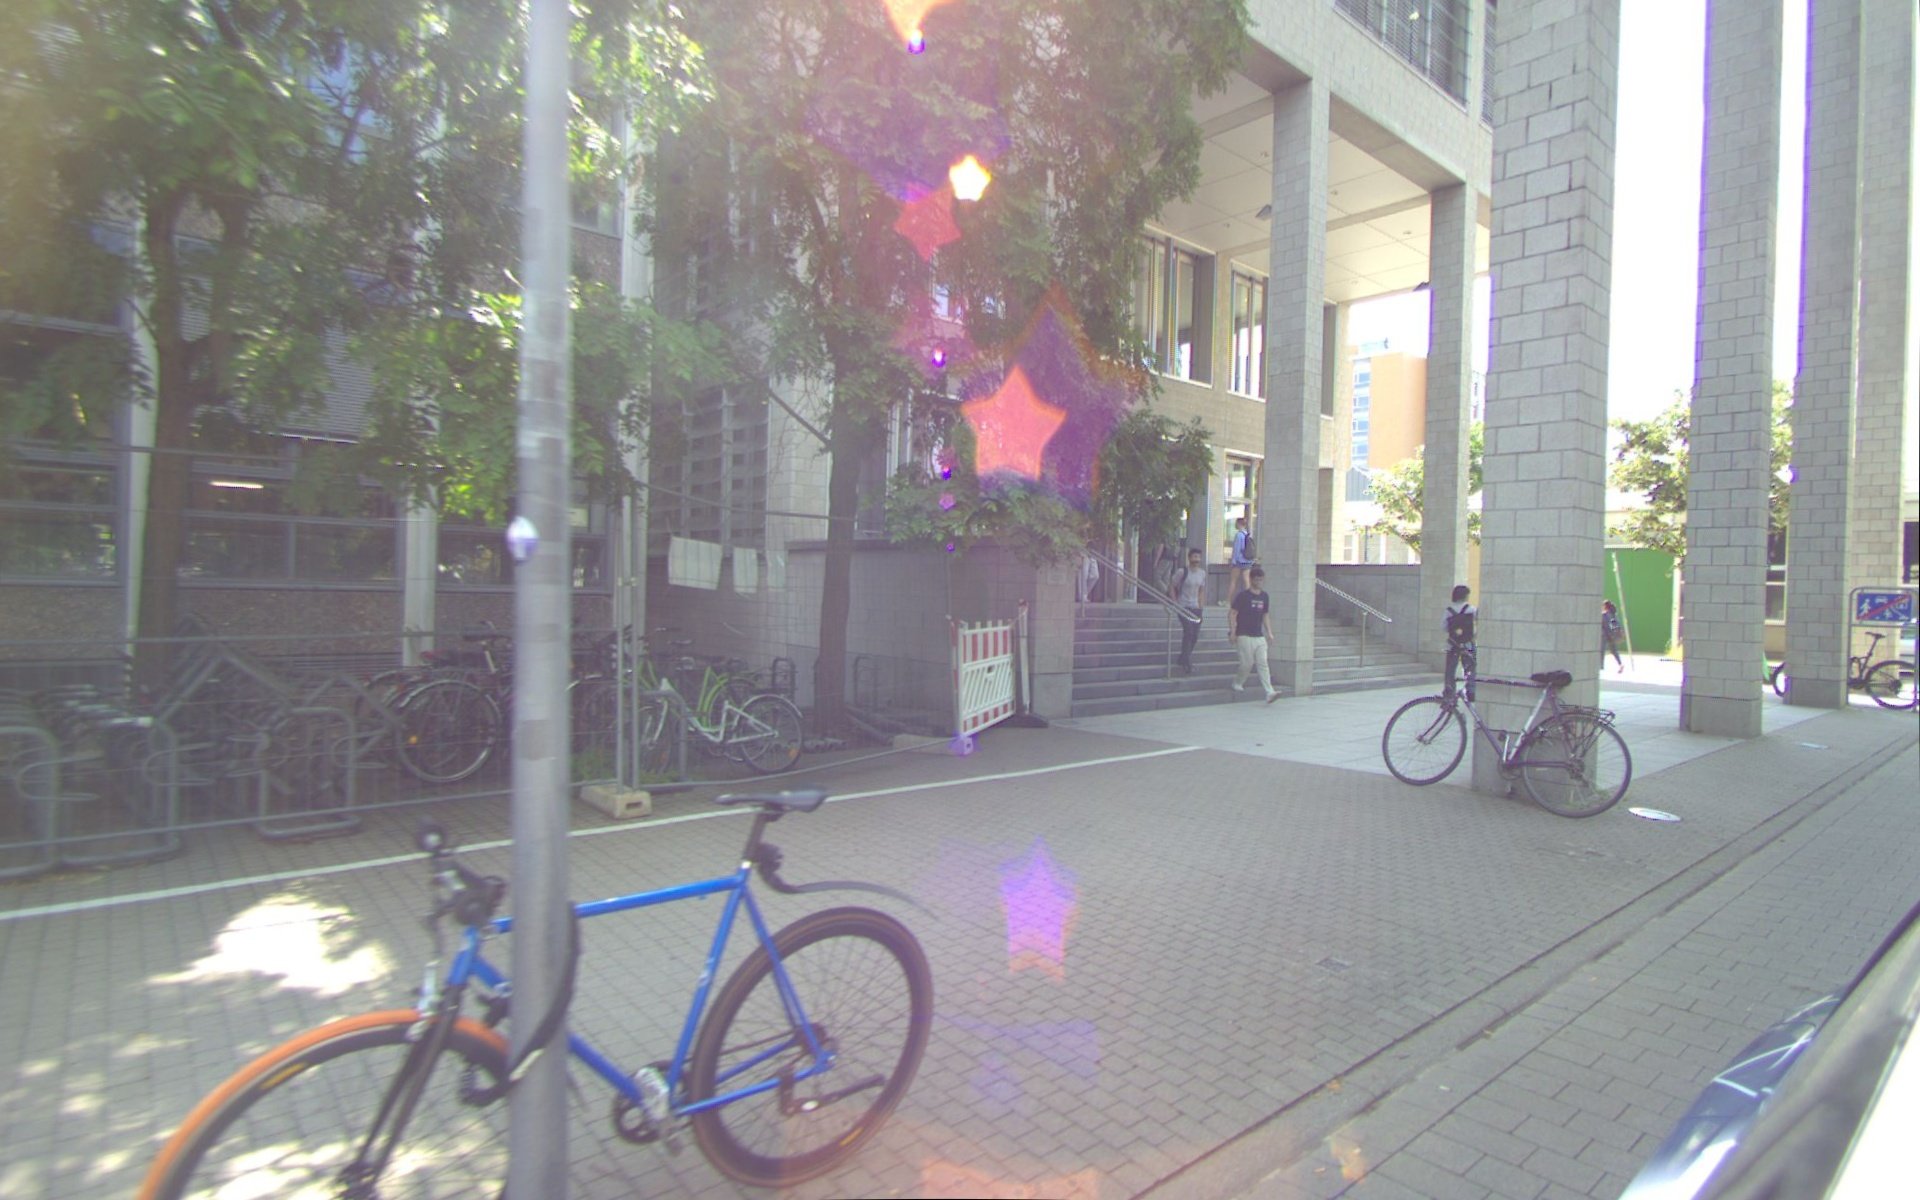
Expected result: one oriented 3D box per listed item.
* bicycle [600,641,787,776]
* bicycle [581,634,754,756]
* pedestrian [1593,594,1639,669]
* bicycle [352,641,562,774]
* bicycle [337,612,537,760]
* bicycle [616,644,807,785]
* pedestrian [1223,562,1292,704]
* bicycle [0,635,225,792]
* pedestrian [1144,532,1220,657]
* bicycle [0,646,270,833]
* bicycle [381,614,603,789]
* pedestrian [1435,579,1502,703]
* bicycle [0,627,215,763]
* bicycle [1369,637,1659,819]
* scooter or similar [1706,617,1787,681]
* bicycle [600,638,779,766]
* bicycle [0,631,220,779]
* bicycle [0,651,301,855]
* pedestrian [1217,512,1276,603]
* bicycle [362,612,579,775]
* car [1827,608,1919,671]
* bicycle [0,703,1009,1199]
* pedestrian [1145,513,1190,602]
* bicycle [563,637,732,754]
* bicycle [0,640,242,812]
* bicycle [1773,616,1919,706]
[{"bbox_3d":[-2.024,0.793,7.808,1.424,0.917,0.291,1,0,-44],"label":"bicycle"},{"bbox_3d":[-2.430,0.762,8.530,1.424,0.917,0.291,1,0,-44],"label":"bicycle"},{"bbox_3d":[14.565,0.679,22.455,0.815,1.594,0.870,2,0,34],"label":"pedestrian"},{"bbox_3d":[-3.848,0.791,7.819,1.424,0.898,0.291,1,0,-44],"label":"bicycle"},{"bbox_3d":[-4.260,0.661,8.313,1.424,1.113,0.291,1,0,-44],"label":"bicycle"},{"bbox_3d":[-1.815,0.813,7.542,1.424,0.917,0.291,1,0,-44],"label":"bicycle"},{"bbox_3d":[3.996,0.429,13.653,0.691,1.826,0.881,2,0,7],"label":"pedestrian"},{"bbox_3d":[-5.619,0.701,6.498,1.424,0.917,0.291,1,0,-44],"label":"bicycle"},{"bbox_3d":[3.098,-0.080,14.168,0.688,1.676,0.884,2,0,-13],"label":"pedestrian"},{"bbox_3d":[-4.703,0.737,5.604,1.424,0.917,0.291,1,0,-44],"label":"bicycle"},{"bbox_3d":[-3.326,0.680,7.287,1.424,1.142,0.291,1,0,-44],"label":"bicycle"},{"bbox_3d":[7.272,0.566,14.507,0.666,1.691,0.894,2,0,17],"label":"pedestrian"},{"bbox_3d":[-6.406,0.672,7.470,1.424,0.917,0.291,1,0,-44],"label":"bicycle"},{"bbox_3d":[3.888,0.845,7.222,0.442,1.052,1.740,3,0,-44],"label":"bicycle"},{"bbox_3d":[15.337,0.944,19.760,0.436,1.166,1.159,2,0,-35],"label":"scooter or similar"},{"bbox_3d":[-2.147,0.784,8.165,1.424,0.917,0.291,1,0,-44],"label":"bicycle"},{"bbox_3d":[-5.941,0.686,6.889,1.424,0.917,0.291,1,0,-44],"label":"bicycle"},{"bbox_3d":[-4.290,0.751,5.251,1.424,0.917,0.291,1,0,-44],"label":"bicycle"},{"bbox_3d":[5.643,-0.825,19.946,0.633,1.746,0.865,2,0,-41],"label":"pedestrian"},{"bbox_3d":[-3.615,0.652,7.555,1.424,1.108,0.291,1,0,-44],"label":"bicycle"},{"bbox_3d":[24.934,1.023,26.044,1.624,1.494,3.775,-1,2,-40],"label":"car"},{"bbox_3d":[-0.754,0.821,2.040,1.826,1.052,0.538,0,1,-41],"label":"bicycle"},{"bbox_3d":[4.385,-0.892,21.428,0.579,1.826,0.685,2,0,-38],"label":"pedestrian"},{"bbox_3d":[-2.699,0.799,8.839,1.424,0.917,0.291,1,0,-44],"label":"bicycle"},{"bbox_3d":[-5.155,0.720,6.006,1.424,0.917,0.291,1,0,-44],"label":"bicycle"},{"bbox_3d":[13.451,0.896,15.159,0.595,1.178,1.882,2,1,-45],"label":"bicycle"}]
